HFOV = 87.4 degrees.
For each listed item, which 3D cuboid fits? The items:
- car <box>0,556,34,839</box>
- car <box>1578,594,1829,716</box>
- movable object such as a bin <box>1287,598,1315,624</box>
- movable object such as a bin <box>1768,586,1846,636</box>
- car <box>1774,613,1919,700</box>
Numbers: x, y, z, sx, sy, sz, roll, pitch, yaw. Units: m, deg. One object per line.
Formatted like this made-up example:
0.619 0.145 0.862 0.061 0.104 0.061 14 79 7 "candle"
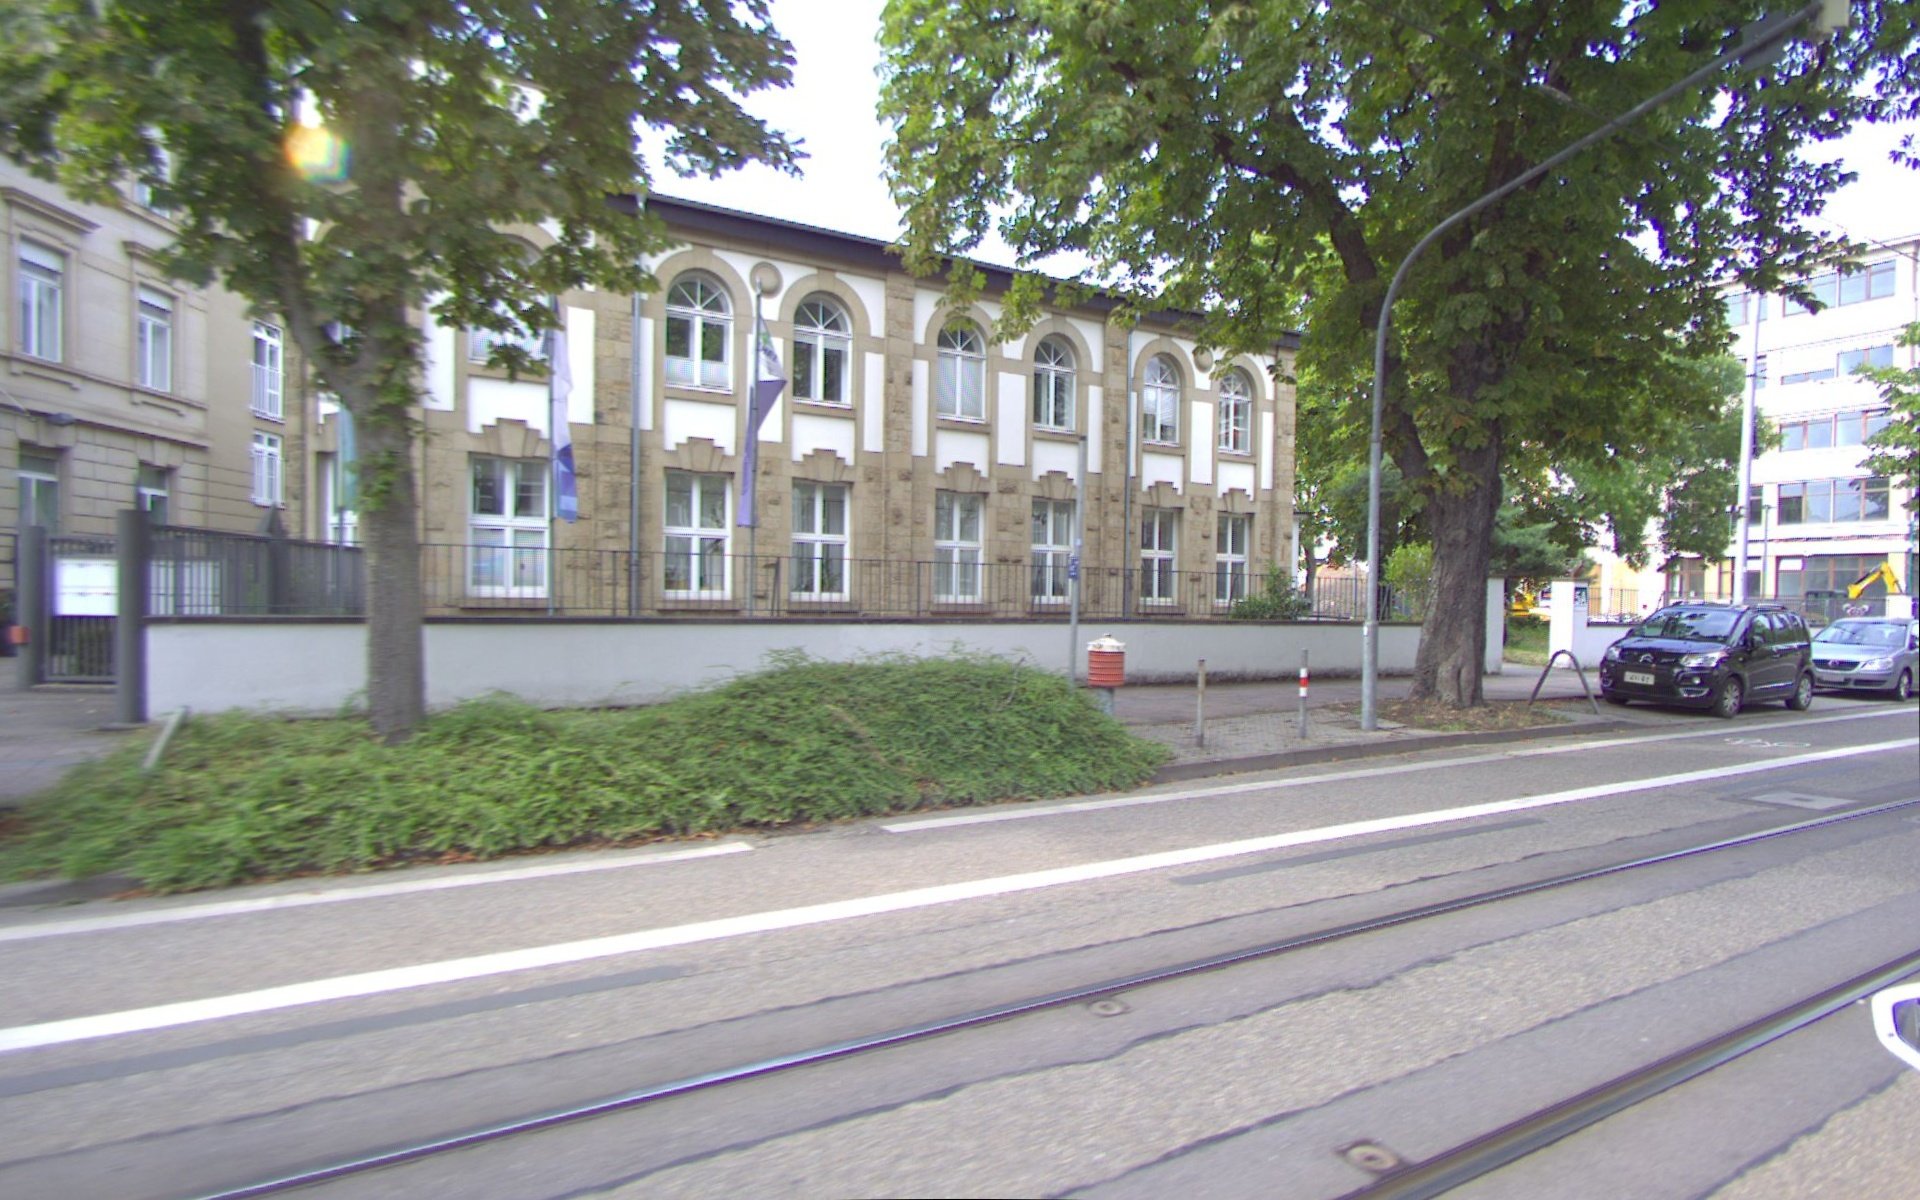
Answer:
-7.543 0.574 4.657 4.490 1.677 1.712 1 3 -31 "car"
11.776 0.797 15.870 4.005 1.669 1.747 1 1 -31 "car"
17.423 0.572 51.378 1.073 1.290 0.861 1 1 -4 "movable object such as a bin"
36.695 0.448 43.513 1.935 2.095 1.978 1 1 -28 "movable object such as a bin"
17.439 1.014 19.213 3.823 1.447 1.684 1 1 -31 "car"
